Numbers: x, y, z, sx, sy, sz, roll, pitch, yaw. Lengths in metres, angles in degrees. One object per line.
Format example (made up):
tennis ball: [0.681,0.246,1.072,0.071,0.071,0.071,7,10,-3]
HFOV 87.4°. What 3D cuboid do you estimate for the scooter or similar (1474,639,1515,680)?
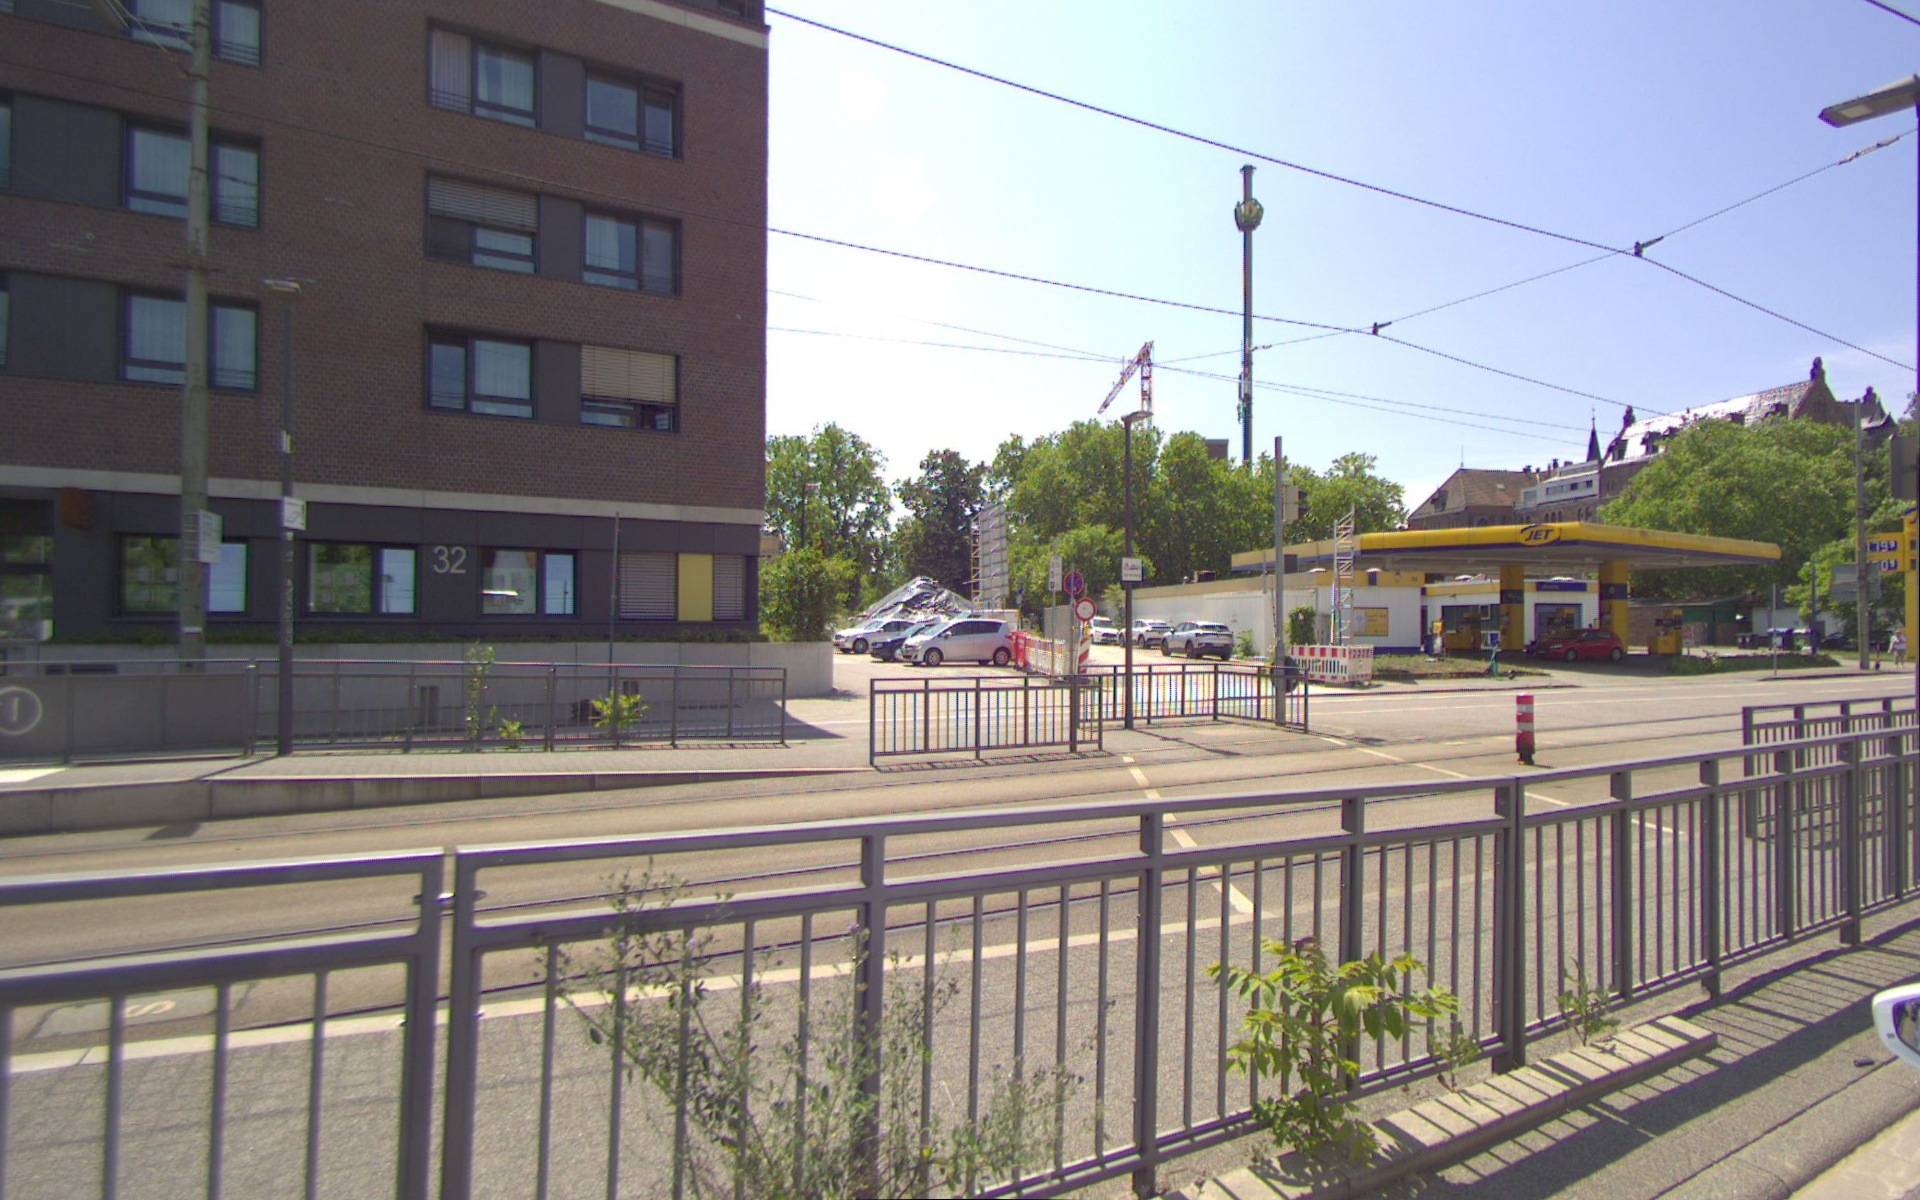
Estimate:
scooter or similar: [17.171,1.911,32.262,1.220,1.281,0.345,1,0,-11]

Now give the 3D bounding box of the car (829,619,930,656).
car: [-3.432,1.583,42.814,3.946,1.488,1.726,1,-1,-25]

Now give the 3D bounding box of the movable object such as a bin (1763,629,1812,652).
movable object such as a bin: [54.220,2.652,65.848,2.062,1.451,1.523,1,0,-11]

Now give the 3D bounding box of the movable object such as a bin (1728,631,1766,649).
movable object such as a bin: [53.354,2.713,68.110,1.536,1.153,1.406,1,0,-11]

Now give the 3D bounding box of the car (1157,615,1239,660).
car: [10.231,1.599,43.521,1.859,1.769,4.268,1,0,-12]

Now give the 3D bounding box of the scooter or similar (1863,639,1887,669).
scooter or similar: [38.643,2.286,42.420,1.364,1.216,0.514,1,0,-39]

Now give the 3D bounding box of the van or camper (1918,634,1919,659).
van or camper: [64.957,3.098,65.210,1.853,1.651,3.759,0,0,-35]

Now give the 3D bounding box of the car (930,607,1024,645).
car: [0.920,1.401,53.935,4.747,1.930,1.728,1,-1,-23]

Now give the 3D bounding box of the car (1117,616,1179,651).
car: [10.474,1.839,56.341,1.965,1.805,4.268,1,0,-12]

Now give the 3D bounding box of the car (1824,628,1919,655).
car: [56.720,2.578,62.340,4.361,1.508,1.936,1,0,4]

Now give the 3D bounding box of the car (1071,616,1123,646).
car: [8.567,1.920,63.145,1.965,1.686,4.268,1,0,-12]

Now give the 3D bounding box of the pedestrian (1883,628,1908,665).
pedestrian: [43.495,2.165,46.703,0.713,1.713,0.622,1,-1,-28]

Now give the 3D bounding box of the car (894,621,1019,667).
car: [-0.118,1.494,34.331,3.944,1.488,1.727,1,-1,-24]

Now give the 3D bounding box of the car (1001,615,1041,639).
car: [4.642,2.040,77.154,1.965,1.686,4.268,1,0,-12]

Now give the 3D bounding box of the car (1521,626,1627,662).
car: [28.629,2.016,46.862,4.126,1.525,1.827,0,1,-13]

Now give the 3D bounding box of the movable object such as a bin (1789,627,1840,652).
movable object such as a bin: [54.645,2.543,64.250,2.062,1.529,1.523,1,0,-11]

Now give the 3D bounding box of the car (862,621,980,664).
car: [-1.428,1.547,36.747,3.946,1.488,1.726,1,-1,-25]
